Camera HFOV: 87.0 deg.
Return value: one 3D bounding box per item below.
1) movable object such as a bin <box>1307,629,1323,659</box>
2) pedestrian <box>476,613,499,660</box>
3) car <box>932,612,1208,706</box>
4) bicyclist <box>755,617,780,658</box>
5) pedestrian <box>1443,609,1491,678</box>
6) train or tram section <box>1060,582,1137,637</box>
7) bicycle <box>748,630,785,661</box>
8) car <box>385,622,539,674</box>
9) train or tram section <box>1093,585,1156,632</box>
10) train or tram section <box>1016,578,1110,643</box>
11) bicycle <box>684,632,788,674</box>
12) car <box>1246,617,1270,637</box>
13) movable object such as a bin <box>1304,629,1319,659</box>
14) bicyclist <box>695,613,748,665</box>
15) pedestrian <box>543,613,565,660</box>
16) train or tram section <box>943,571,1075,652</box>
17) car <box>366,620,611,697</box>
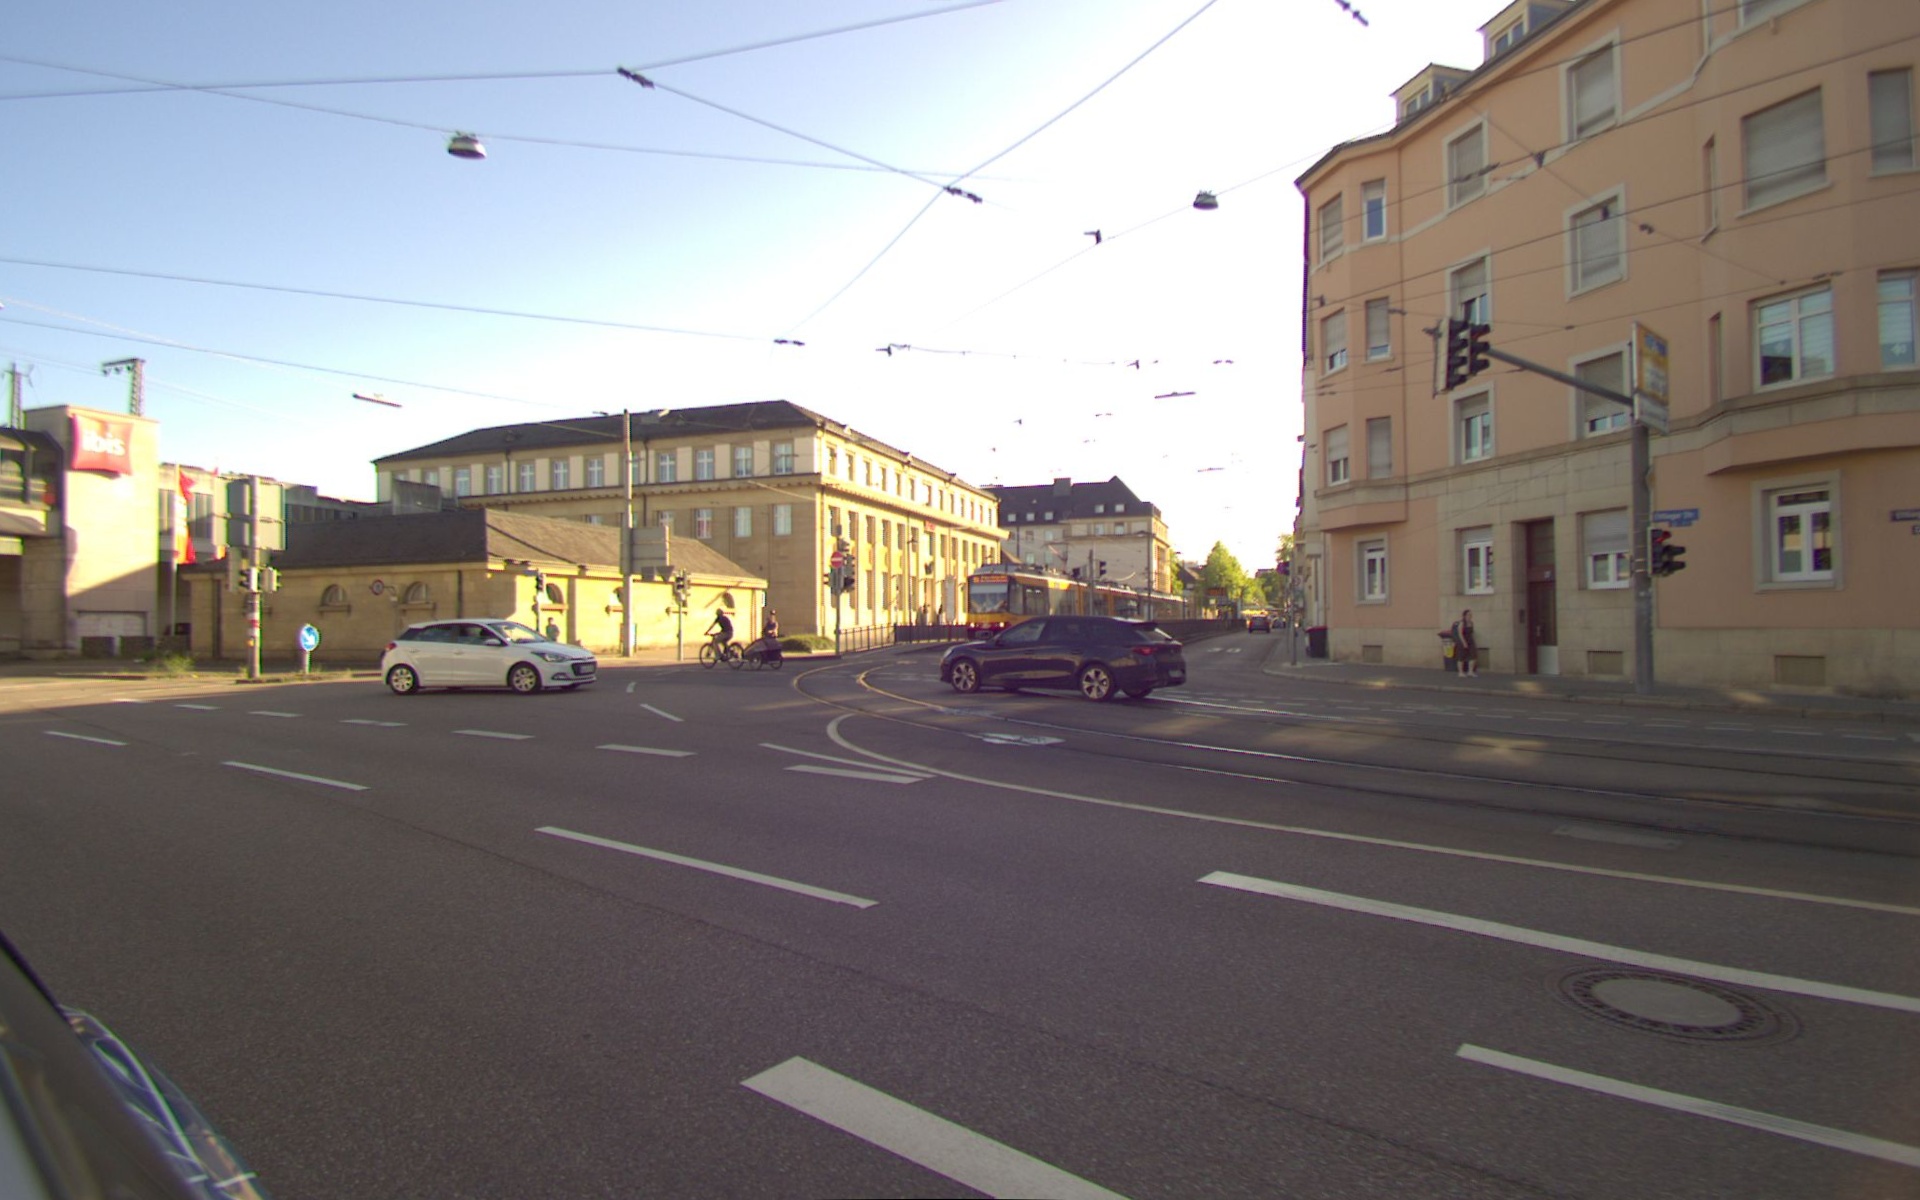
[{"bbox_3d":[12.319,1.517,35.117,0.479,1.040,0.448,-1,-2,19],"label":"movable object such as a bin"},{"bbox_3d":[-16.705,1.297,35.754,0.615,1.652,0.515,0,-2,-8],"label":"pedestrian"},{"bbox_3d":[1.868,0.992,17.869,4.488,1.466,1.905,-2,-2,35],"label":"car"},{"bbox_3d":[-7.944,1.519,41.687,0.671,1.652,0.935,-1,-1,14],"label":"bicyclist"},{"bbox_3d":[11.850,1.018,23.663,0.666,1.575,0.722,0,-2,-15],"label":"pedestrian"},{"bbox_3d":[9.562,0.628,68.632,3.140,3.382,10.783,-1,-1,18],"label":"train or tram section"},{"bbox_3d":[-7.948,1.856,41.643,0.679,1.145,2.065,-1,0,13],"label":"bicycle"},{"bbox_3d":[-14.475,1.362,29.368,4.547,1.403,1.978,-2,-2,33],"label":"car"},{"bbox_3d":[12.946,0.661,78.846,3.140,3.382,10.783,-1,-1,18],"label":"train or tram section"},{"bbox_3d":[6.162,0.597,58.533,3.140,3.382,10.615,-1,-1,18],"label":"train or tram section"},{"bbox_3d":[-6.159,1.425,27.657,3.351,1.064,0.924,-2,-2,40],"label":"bicycle"},{"bbox_3d":[27.046,2.467,91.853,1.895,1.752,4.271,-1,-2,19],"label":"car"},{"bbox_3d":[12.535,1.564,36.082,0.479,1.074,0.448,-1,-2,19],"label":"movable object such as a bin"},{"bbox_3d":[-6.614,1.071,28.070,1.147,1.393,0.924,-2,-2,40],"label":"bicyclist"},{"bbox_3d":[-14.229,1.280,35.492,0.615,1.652,0.490,0,-2,-8],"label":"pedestrian"},{"bbox_3d":[2.649,0.602,47.938,3.142,3.346,11.745,-1,-1,18],"label":"train or tram section"},{"bbox_3d":[-9.167,1.127,19.825,4.057,1.404,1.788,-1,-2,8],"label":"car"}]
